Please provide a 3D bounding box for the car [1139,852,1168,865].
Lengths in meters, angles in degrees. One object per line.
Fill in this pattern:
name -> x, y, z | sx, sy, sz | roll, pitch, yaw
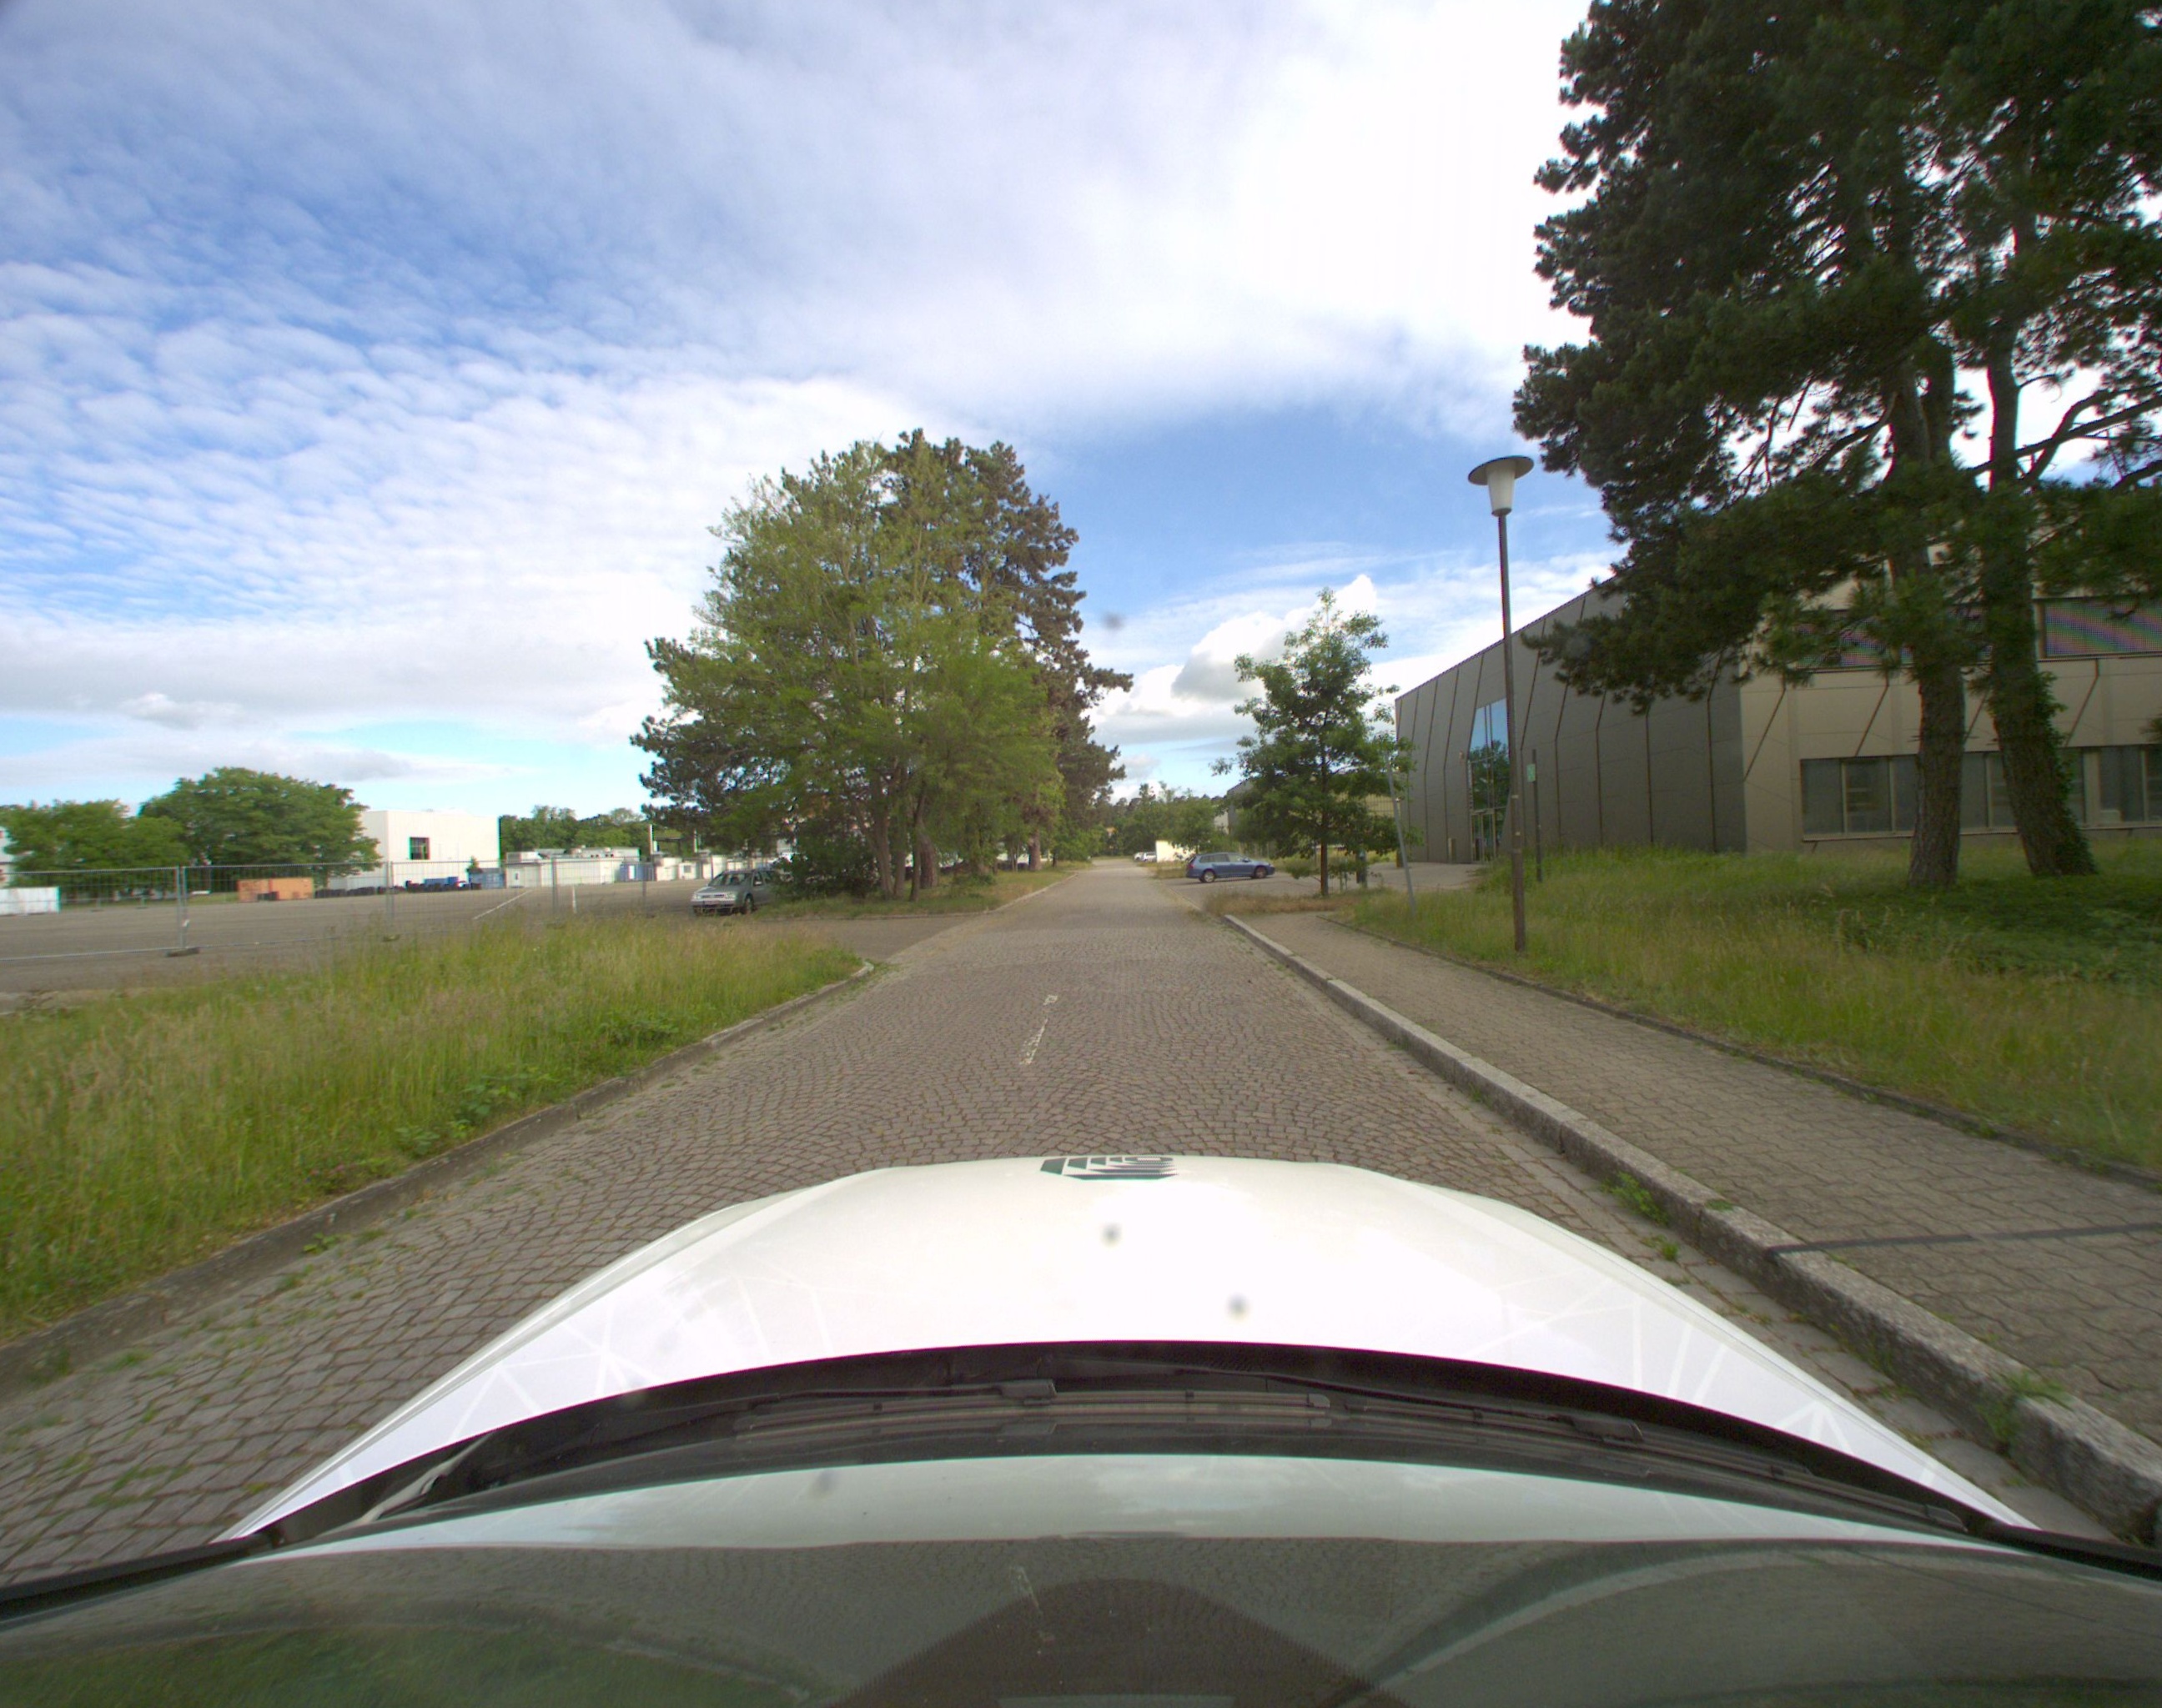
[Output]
car -> 10.249, 0.618, 115.168 | 3.838, 1.654, 1.686 | -2, 0, -1

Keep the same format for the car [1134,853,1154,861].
car -> 12.459, 0.551, 161.299 | 4.008, 1.502, 1.549 | -2, 0, 3

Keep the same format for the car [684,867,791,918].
car -> -11.549, 1.237, 27.733 | 1.710, 1.438, 4.466 | -2, 0, 0

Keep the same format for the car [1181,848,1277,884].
car -> 7.502, 0.598, 41.627 | 4.509, 1.443, 1.822 | -4, 0, -1

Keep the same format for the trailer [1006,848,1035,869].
trailer -> -9.464, 0.744, 128.478 | 3.144, 3.067, 8.794 | -2, 0, 4

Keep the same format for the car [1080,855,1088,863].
car -> 0.604, 1.104, 180.749 | 1.729, 1.469, 4.045 | -2, 0, 0

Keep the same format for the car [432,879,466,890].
car -> -97.492, 4.714, 125.664 | 3.953, 1.533, 1.630 | -2, 0, 0
